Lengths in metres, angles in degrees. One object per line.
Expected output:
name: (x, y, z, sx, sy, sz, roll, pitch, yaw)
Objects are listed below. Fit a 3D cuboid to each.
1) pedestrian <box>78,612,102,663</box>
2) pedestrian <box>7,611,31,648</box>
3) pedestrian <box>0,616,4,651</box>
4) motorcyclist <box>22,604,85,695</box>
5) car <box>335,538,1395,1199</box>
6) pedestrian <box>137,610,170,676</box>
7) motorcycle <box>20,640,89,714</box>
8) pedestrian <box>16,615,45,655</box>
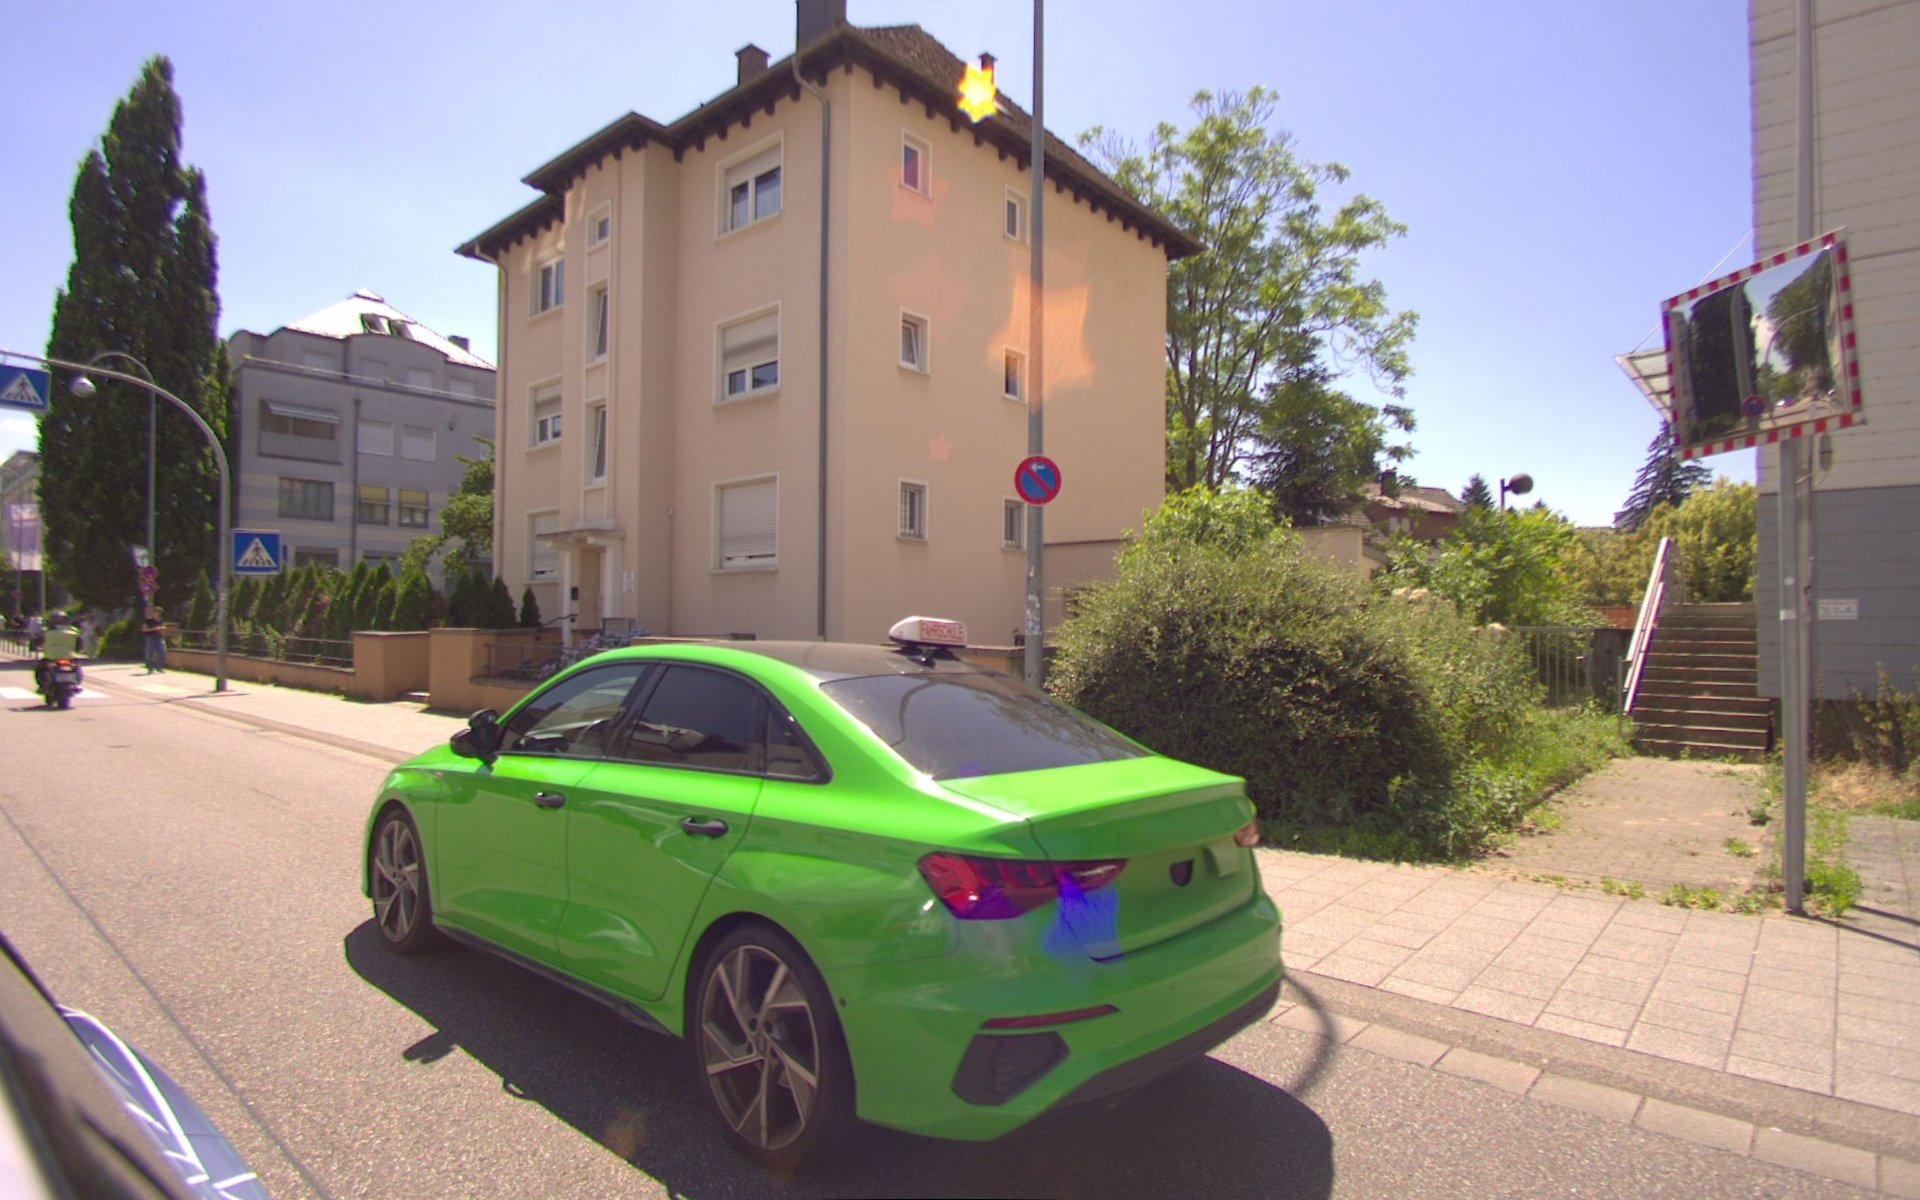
pedestrian: (-29.794, 1.272, 34.657, 0.708, 1.698, 0.531, -1, -2, 41)
pedestrian: (-45.836, 1.429, 49.301, 0.950, 1.784, 0.740, -1, -2, 41)
pedestrian: (-46.409, 1.606, 48.623, 0.903, 1.689, 0.614, -1, 0, 41)
motorcyclist: (-14.828, 0.806, 16.553, 0.707, 1.444, 0.691, -1, -3, 44)
car: (-0.709, 0.736, 3.964, 4.098, 1.600, 1.803, -1, -3, 41)
pedestrian: (-21.247, 1.125, 26.656, 0.708, 1.698, 0.531, -1, -2, 41)
motorcycle: (-14.731, 1.212, 16.449, 1.791, 1.116, 0.691, -1, -3, 45)
pedestrian: (-39.928, 1.477, 43.475, 0.751, 1.657, 0.836, 0, 1, 43)
